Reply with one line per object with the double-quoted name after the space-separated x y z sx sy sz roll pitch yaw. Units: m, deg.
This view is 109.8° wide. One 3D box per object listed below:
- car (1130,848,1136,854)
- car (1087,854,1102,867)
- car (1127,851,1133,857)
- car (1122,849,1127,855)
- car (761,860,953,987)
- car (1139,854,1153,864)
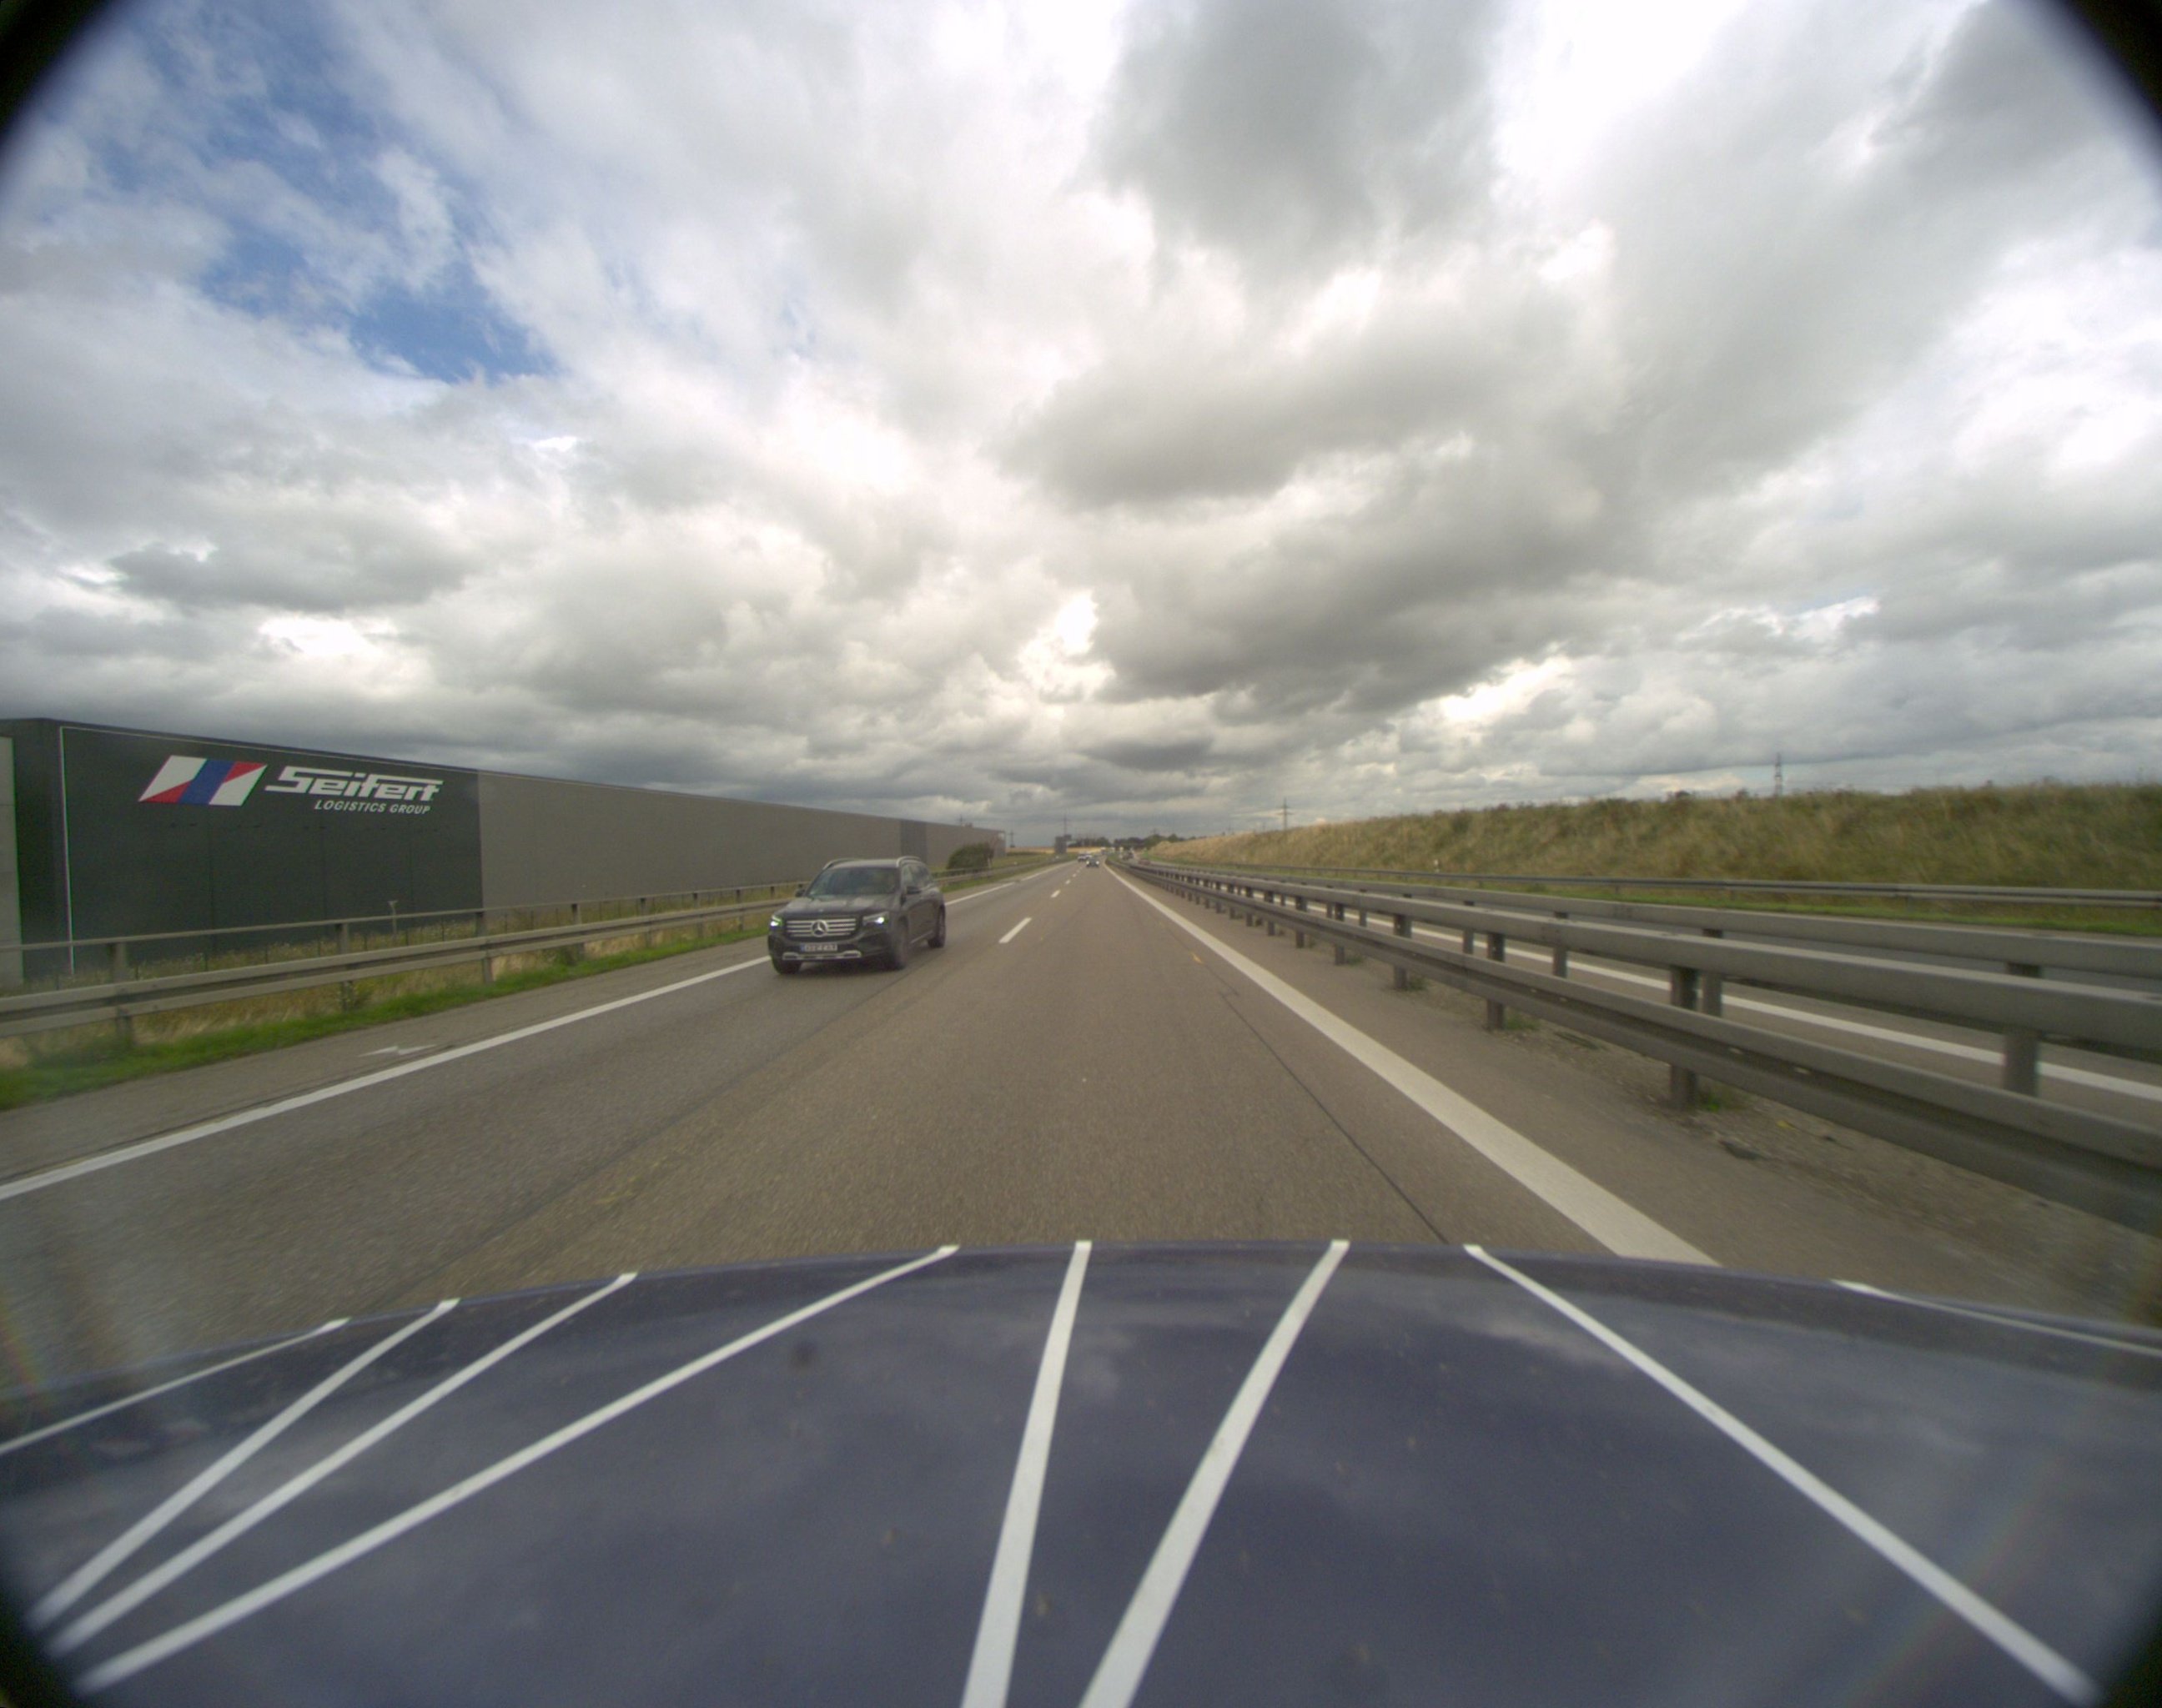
18.506 -1.050 269.003 1.998 2.229 5.719 -1 1 4 "car"
1.917 0.899 108.748 1.998 1.696 4.662 -2 0 1 "car"
14.228 -0.041 220.320 1.845 1.567 4.000 -1 1 3 "car"
15.116 -0.743 263.652 1.832 1.874 5.419 -1 1 4 "car"
-3.404 0.958 12.498 1.838 1.600 4.359 0 1 0 "car"
10.511 0.774 122.488 1.911 1.504 4.729 -1 1 1 "car"
